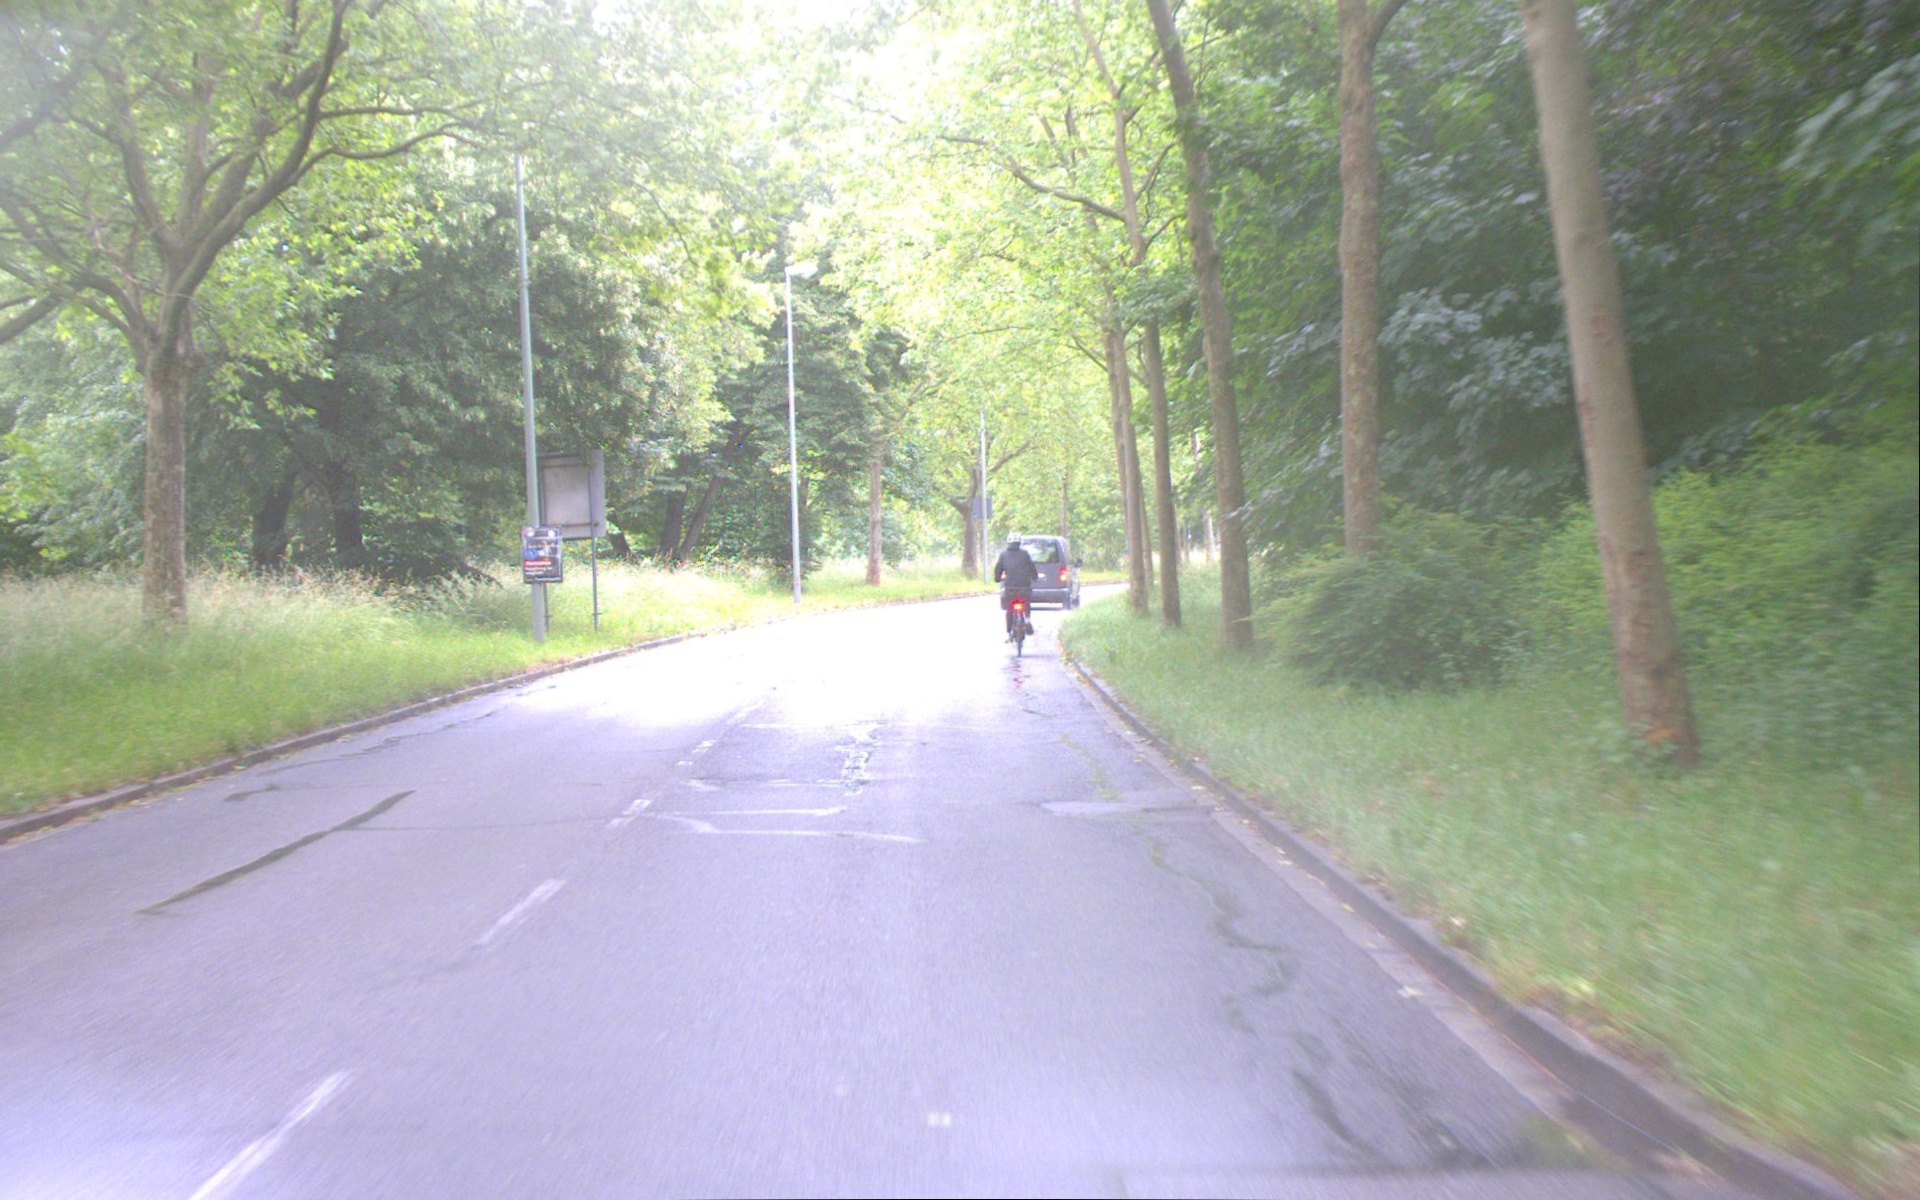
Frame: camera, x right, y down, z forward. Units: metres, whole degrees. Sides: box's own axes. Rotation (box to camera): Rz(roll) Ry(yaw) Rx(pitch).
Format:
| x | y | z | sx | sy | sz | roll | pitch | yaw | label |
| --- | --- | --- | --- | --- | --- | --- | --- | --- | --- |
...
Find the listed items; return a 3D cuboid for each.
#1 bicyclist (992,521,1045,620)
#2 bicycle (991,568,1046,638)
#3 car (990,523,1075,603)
| x | y | z | sx | sy | sz | roll | pitch | yaw | label |
| --- | --- | --- | --- | --- | --- | --- | --- | --- | --- |
| 0.838 | -0.434 | 49.333 | 0.730 | 1.406 | 0.973 | 0 | 1 | 3 | bicyclist |
| 0.847 | 0.031 | 49.578 | 0.730 | 0.970 | 2.173 | 0 | 1 | 3 | bicycle |
| 1.833 | -0.923 | 85.413 | 1.985 | 1.919 | 4.000 | -1 | 1 | 3 | car |
